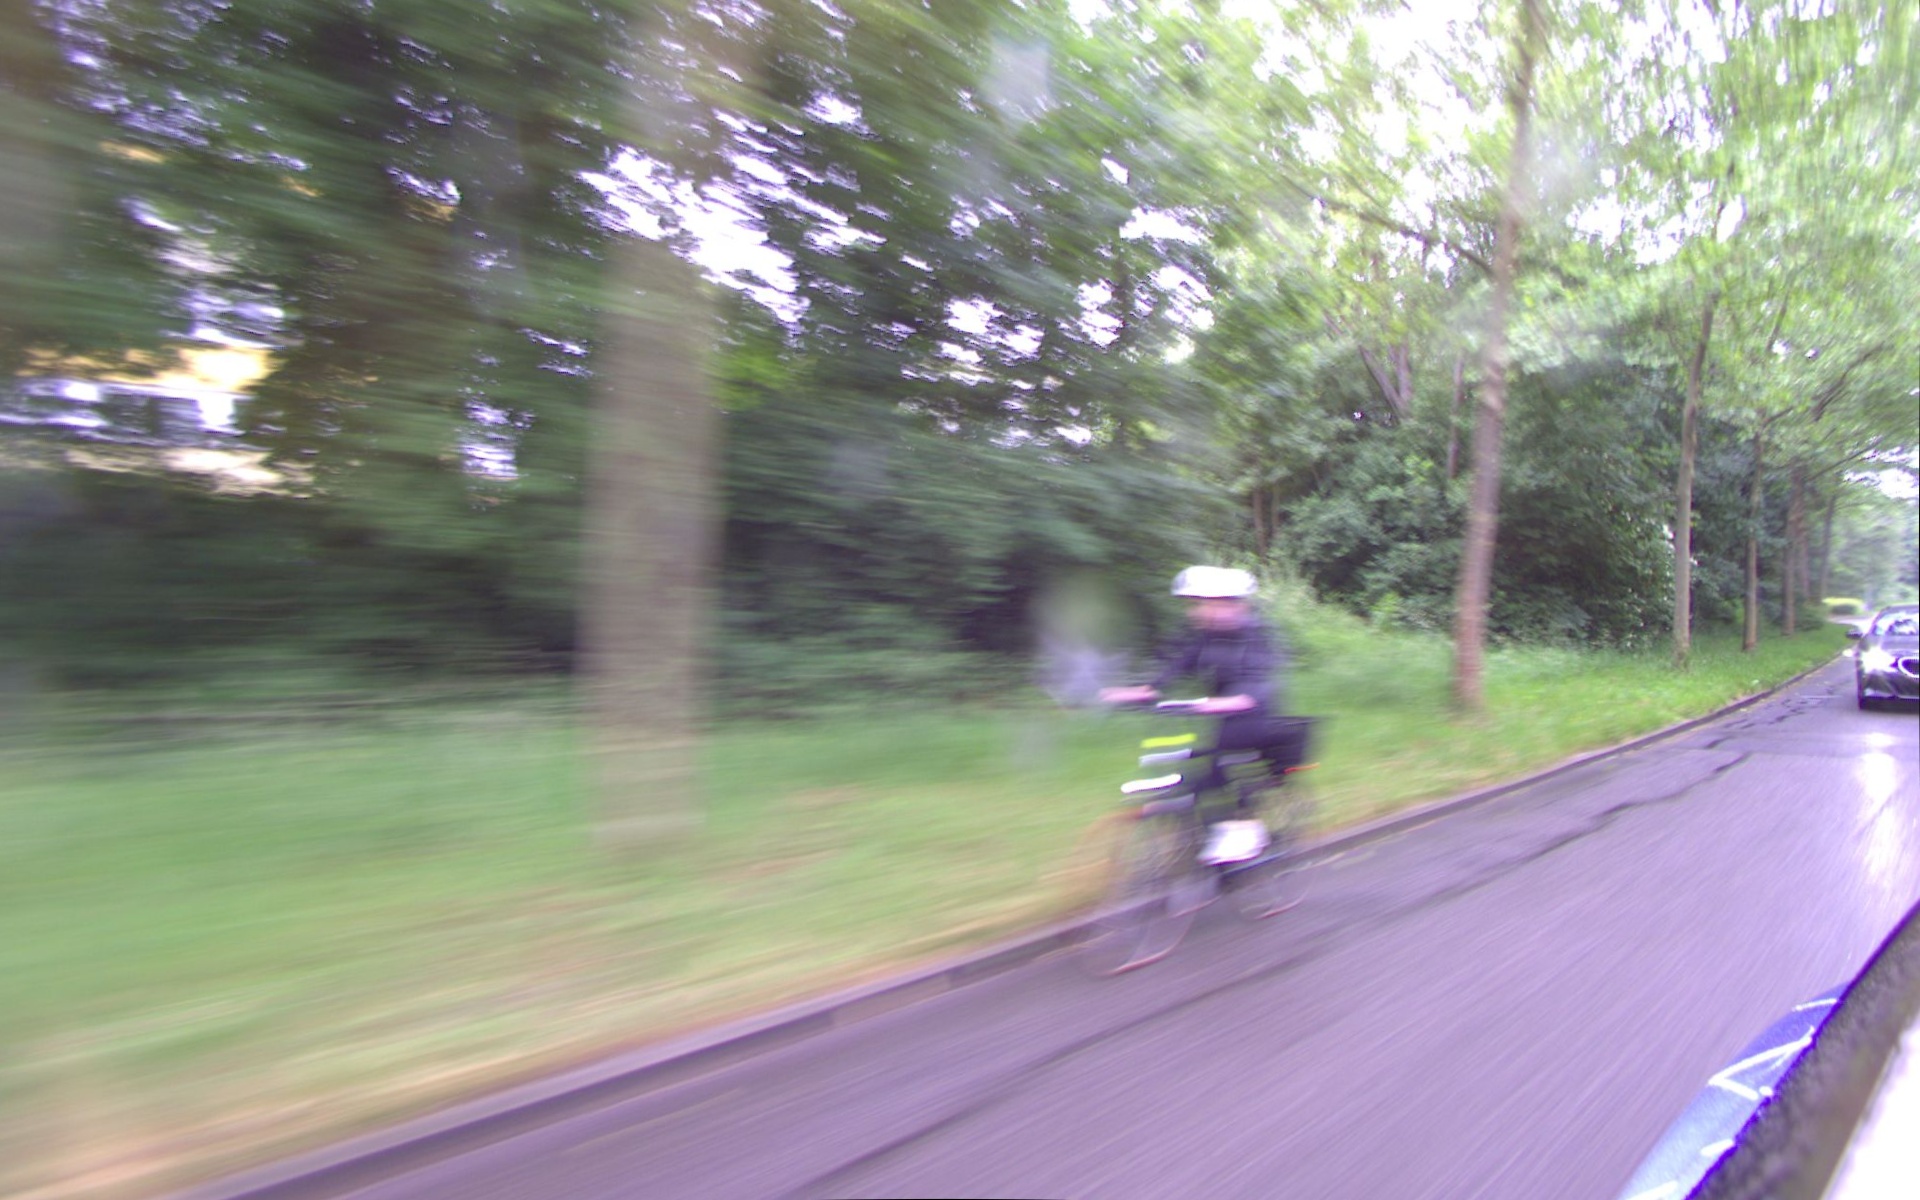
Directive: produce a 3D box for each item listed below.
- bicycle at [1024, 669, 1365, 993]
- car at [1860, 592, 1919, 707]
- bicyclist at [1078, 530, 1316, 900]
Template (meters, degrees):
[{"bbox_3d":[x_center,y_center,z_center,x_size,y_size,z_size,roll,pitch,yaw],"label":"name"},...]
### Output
[{"bbox_3d":[1.144,0.954,4.687,1.799,1.148,0.453,-1,-1,-36],"label":"bicycle"},{"bbox_3d":[15.031,0.654,14.979,4.814,1.513,1.842,-1,0,-40],"label":"car"},{"bbox_3d":[1.087,0.467,4.664,0.785,1.516,0.698,-1,-1,-36],"label":"bicyclist"}]
